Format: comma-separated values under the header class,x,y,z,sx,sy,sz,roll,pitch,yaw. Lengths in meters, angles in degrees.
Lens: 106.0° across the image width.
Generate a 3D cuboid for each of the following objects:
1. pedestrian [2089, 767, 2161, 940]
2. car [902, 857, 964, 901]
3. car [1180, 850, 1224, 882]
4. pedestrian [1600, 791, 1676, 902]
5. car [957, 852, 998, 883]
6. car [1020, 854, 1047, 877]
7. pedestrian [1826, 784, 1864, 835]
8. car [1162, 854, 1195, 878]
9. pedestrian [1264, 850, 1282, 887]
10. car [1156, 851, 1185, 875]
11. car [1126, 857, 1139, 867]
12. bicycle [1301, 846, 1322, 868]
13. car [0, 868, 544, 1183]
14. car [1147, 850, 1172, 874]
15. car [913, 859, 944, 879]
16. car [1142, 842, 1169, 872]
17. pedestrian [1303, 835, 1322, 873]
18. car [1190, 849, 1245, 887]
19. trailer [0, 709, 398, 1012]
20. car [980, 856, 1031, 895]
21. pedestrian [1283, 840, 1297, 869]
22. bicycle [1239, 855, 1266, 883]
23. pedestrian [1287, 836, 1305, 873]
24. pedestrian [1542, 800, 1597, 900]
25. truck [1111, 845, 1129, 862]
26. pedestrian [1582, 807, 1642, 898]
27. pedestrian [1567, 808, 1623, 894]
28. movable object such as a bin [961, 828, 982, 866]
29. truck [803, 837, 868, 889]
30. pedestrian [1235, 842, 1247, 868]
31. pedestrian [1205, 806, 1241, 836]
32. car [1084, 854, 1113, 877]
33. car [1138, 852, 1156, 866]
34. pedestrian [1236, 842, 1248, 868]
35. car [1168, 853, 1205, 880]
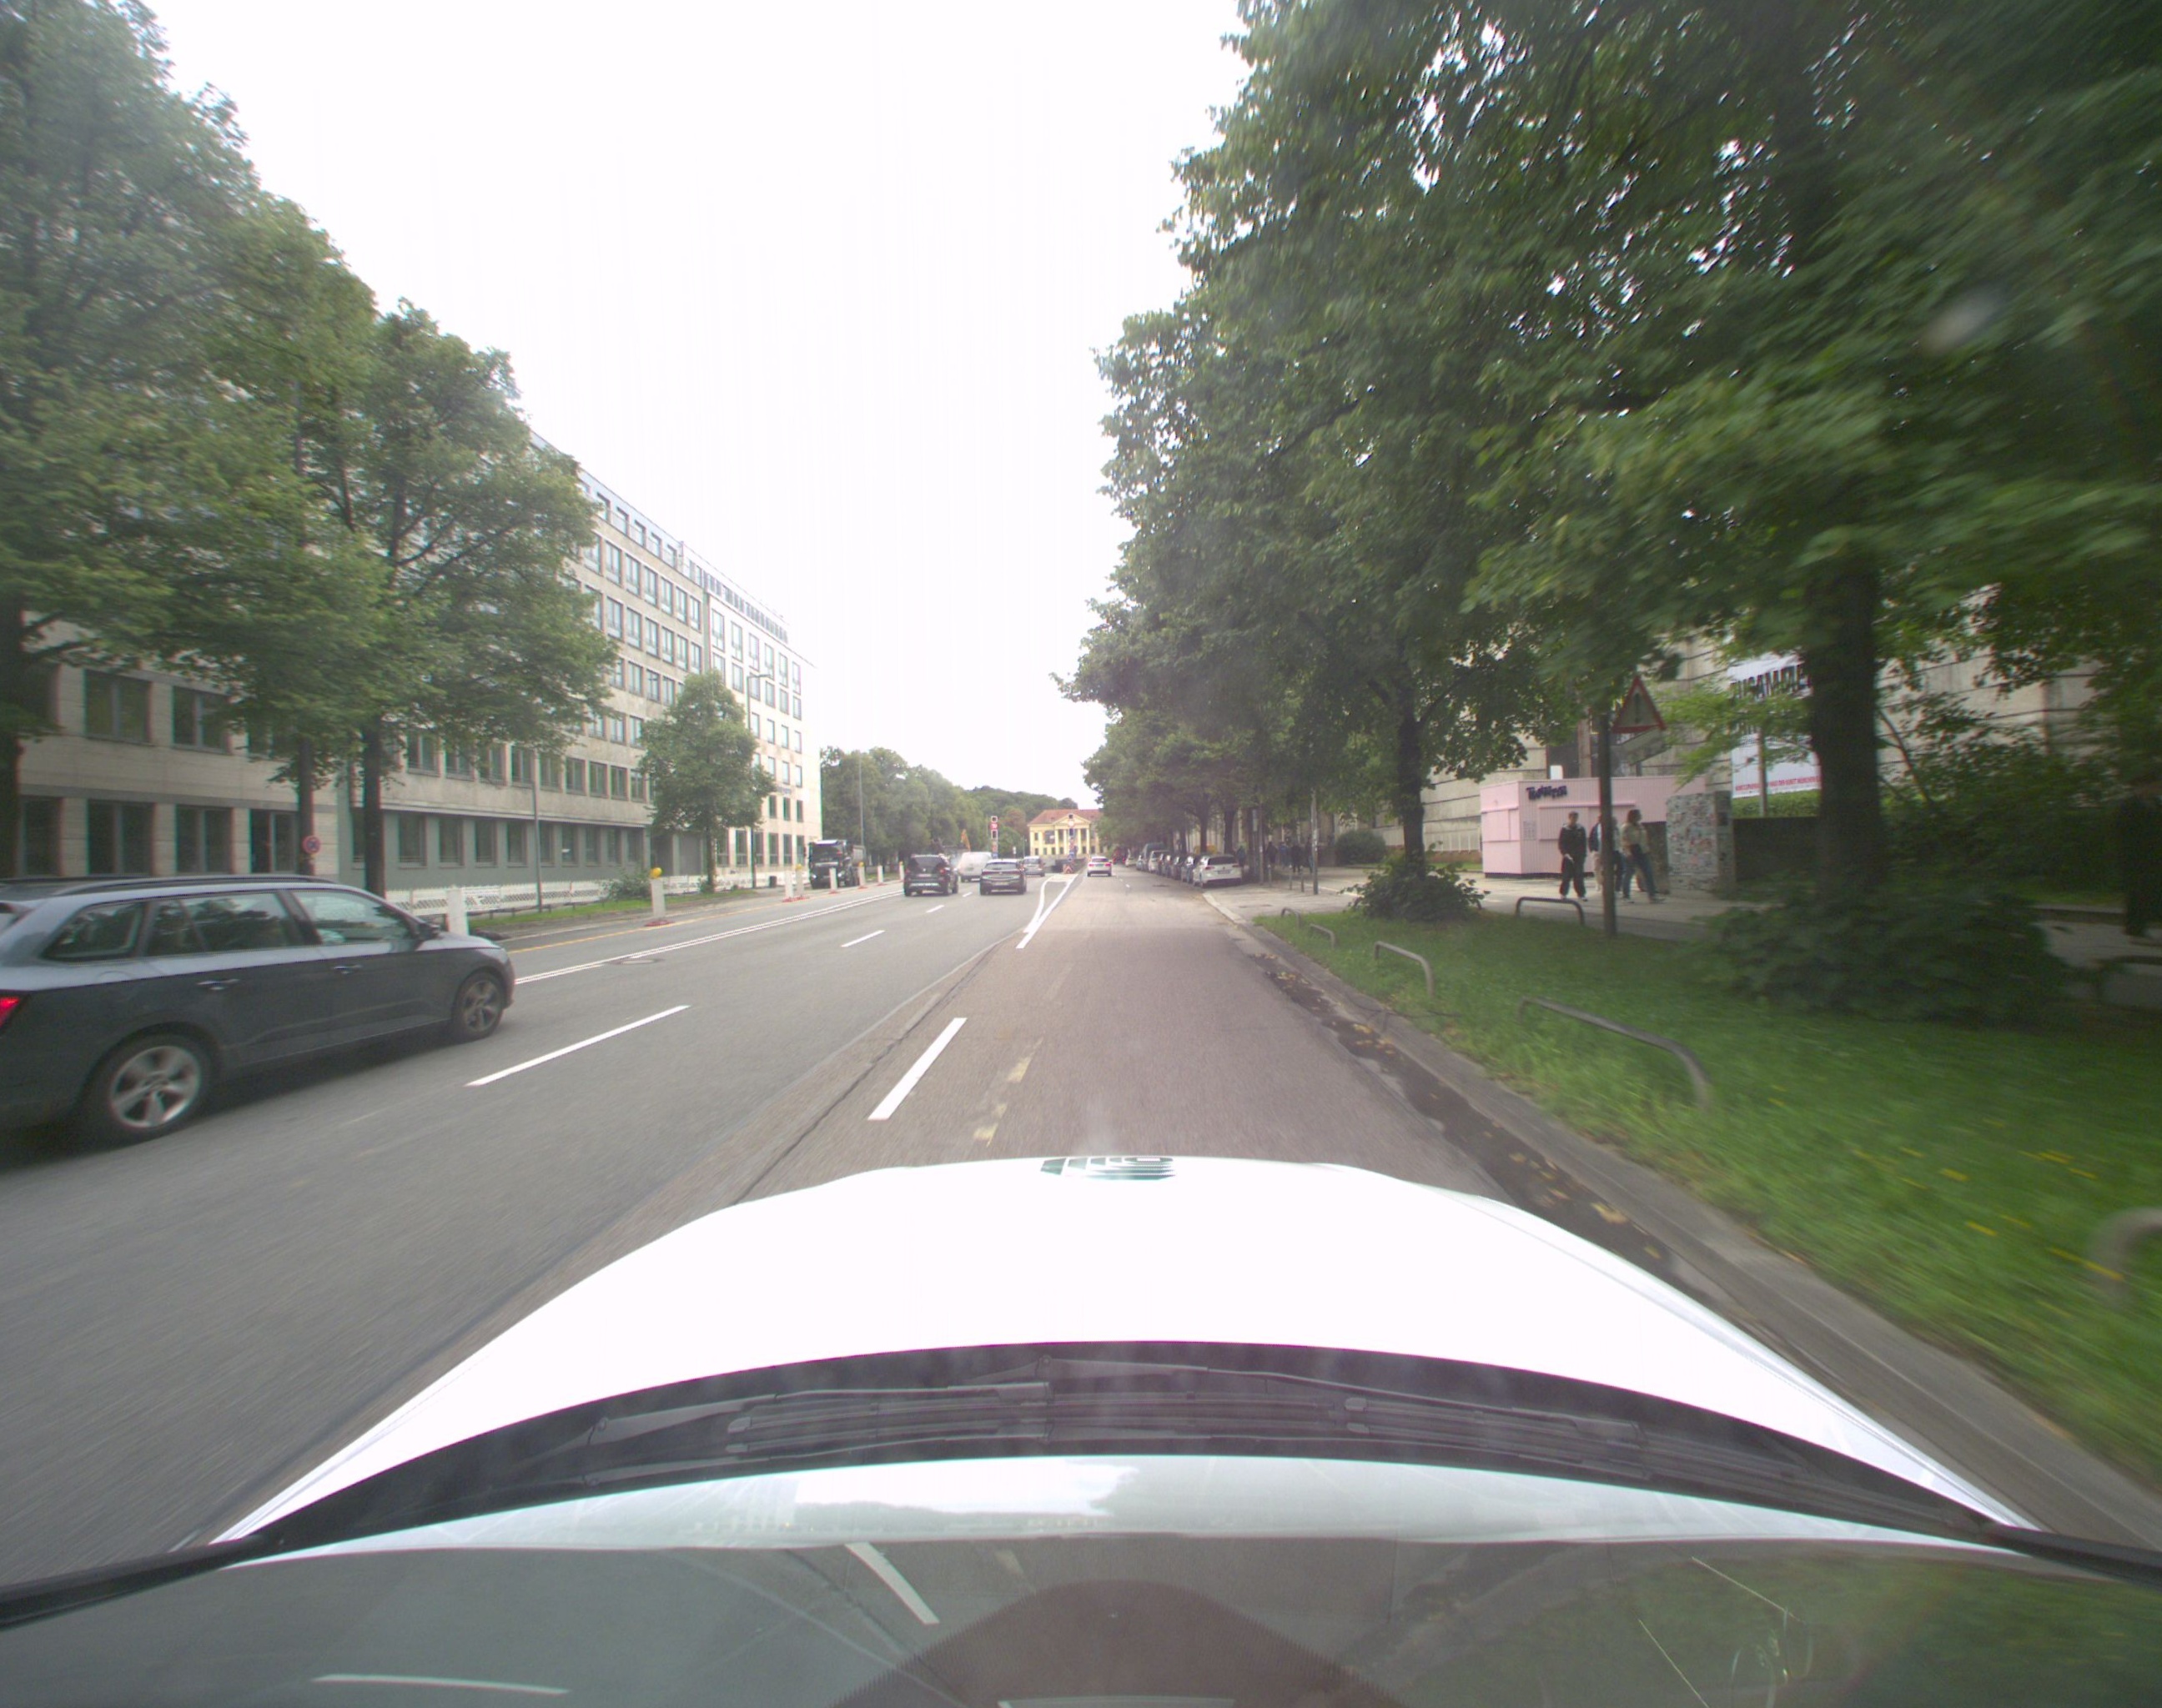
class,x,y,z,sx,sy,sz,roll,pitch,yaw
pedestrian,10.716,-0.007,8.136,0.577,1.675,0.554,-1,0,4
car,-6.079,0.994,33.972,1.717,1.636,4.204,-2,0,0
car,6.396,0.625,43.364,1.718,1.549,4.587,-2,0,2
pedestrian,10.662,-0.136,15.611,0.760,2.013,0.777,-5,0,1
car,-6.606,0.845,52.333,1.892,1.847,4.955,-2,0,0
car,-3.639,0.870,63.053,1.773,1.654,4.000,-1,0,0
pedestrian,24.168,-1.405,25.763,0.485,1.558,0.771,-1,0,2
car,6.532,0.799,55.074,1.816,1.464,4.029,-2,0,2
pedestrian,10.103,0.745,42.903,0.776,1.910,0.771,-1,0,1
car,6.666,0.670,60.982,1.718,1.665,4.591,-2,0,2
car,7.708,1.178,122.361,1.718,1.324,4.029,-2,0,2
bicycle,15.413,0.225,54.484,0.697,1.415,2.299,-2,0,1
car,-6.044,0.875,5.678,1.787,1.447,4.273,-2,0,-1
car,6.566,0.638,68.424,1.718,1.867,4.029,-2,0,2
car,-13.084,1.302,70.269,1.988,1.596,3.997,-2,0,-2
car,6.843,0.264,75.538,1.987,2.643,4.876,-1,0,0
pedestrian,11.946,0.001,42.047,0.761,1.910,0.771,-1,0,1
car,6.211,0.623,37.519,1.821,1.549,4.753,-2,0,2
trailer,-14.844,0.094,10.331,2.943,3.740,11.757,-1,0,-3
car,-3.120,0.856,34.418,1.704,1.552,4.001,-1,0,1
pedestrian,13.868,0.015,54.032,0.776,1.910,0.771,-1,0,1
bicycle,7.715,0.655,36.737,0.626,1.231,2.617,-1,0,-1
pedestrian,11.125,0.025,42.131,0.696,1.910,0.771,-1,0,1
pedestrian,10.304,-0.083,17.196,0.592,2.013,0.725,-4,0,1
truck,7.562,-0.098,159.686,3.313,3.367,8.664,-1,0,1
pedestrian,10.960,-0.033,16.825,0.597,1.809,0.719,-4,0,-23
pedestrian,11.268,-0.063,17.869,0.597,1.809,0.719,-4,0,-23
movable object such as a bin,-19.157,-1.262,142.811,2.690,6.511,5.177,-1,0,1
truck,-16.913,0.593,56.717,2.838,3.357,8.742,-1,0,-7
pedestrian,12.065,0.094,61.377,0.776,1.910,0.771,-1,0,1
pedestrian,10.320,-2.371,59.440,1.986,2.013,4.001,-1,0,1
car,1.274,0.810,60.655,1.776,1.644,3.994,-1,0,-4
car,7.083,0.525,87.535,1.718,1.324,4.029,-2,0,2
pedestrian,11.954,0.045,60.536,0.776,1.910,0.771,-1,0,1
car,6.335,0.718,49.501,1.718,1.464,4.777,-2,0,2
